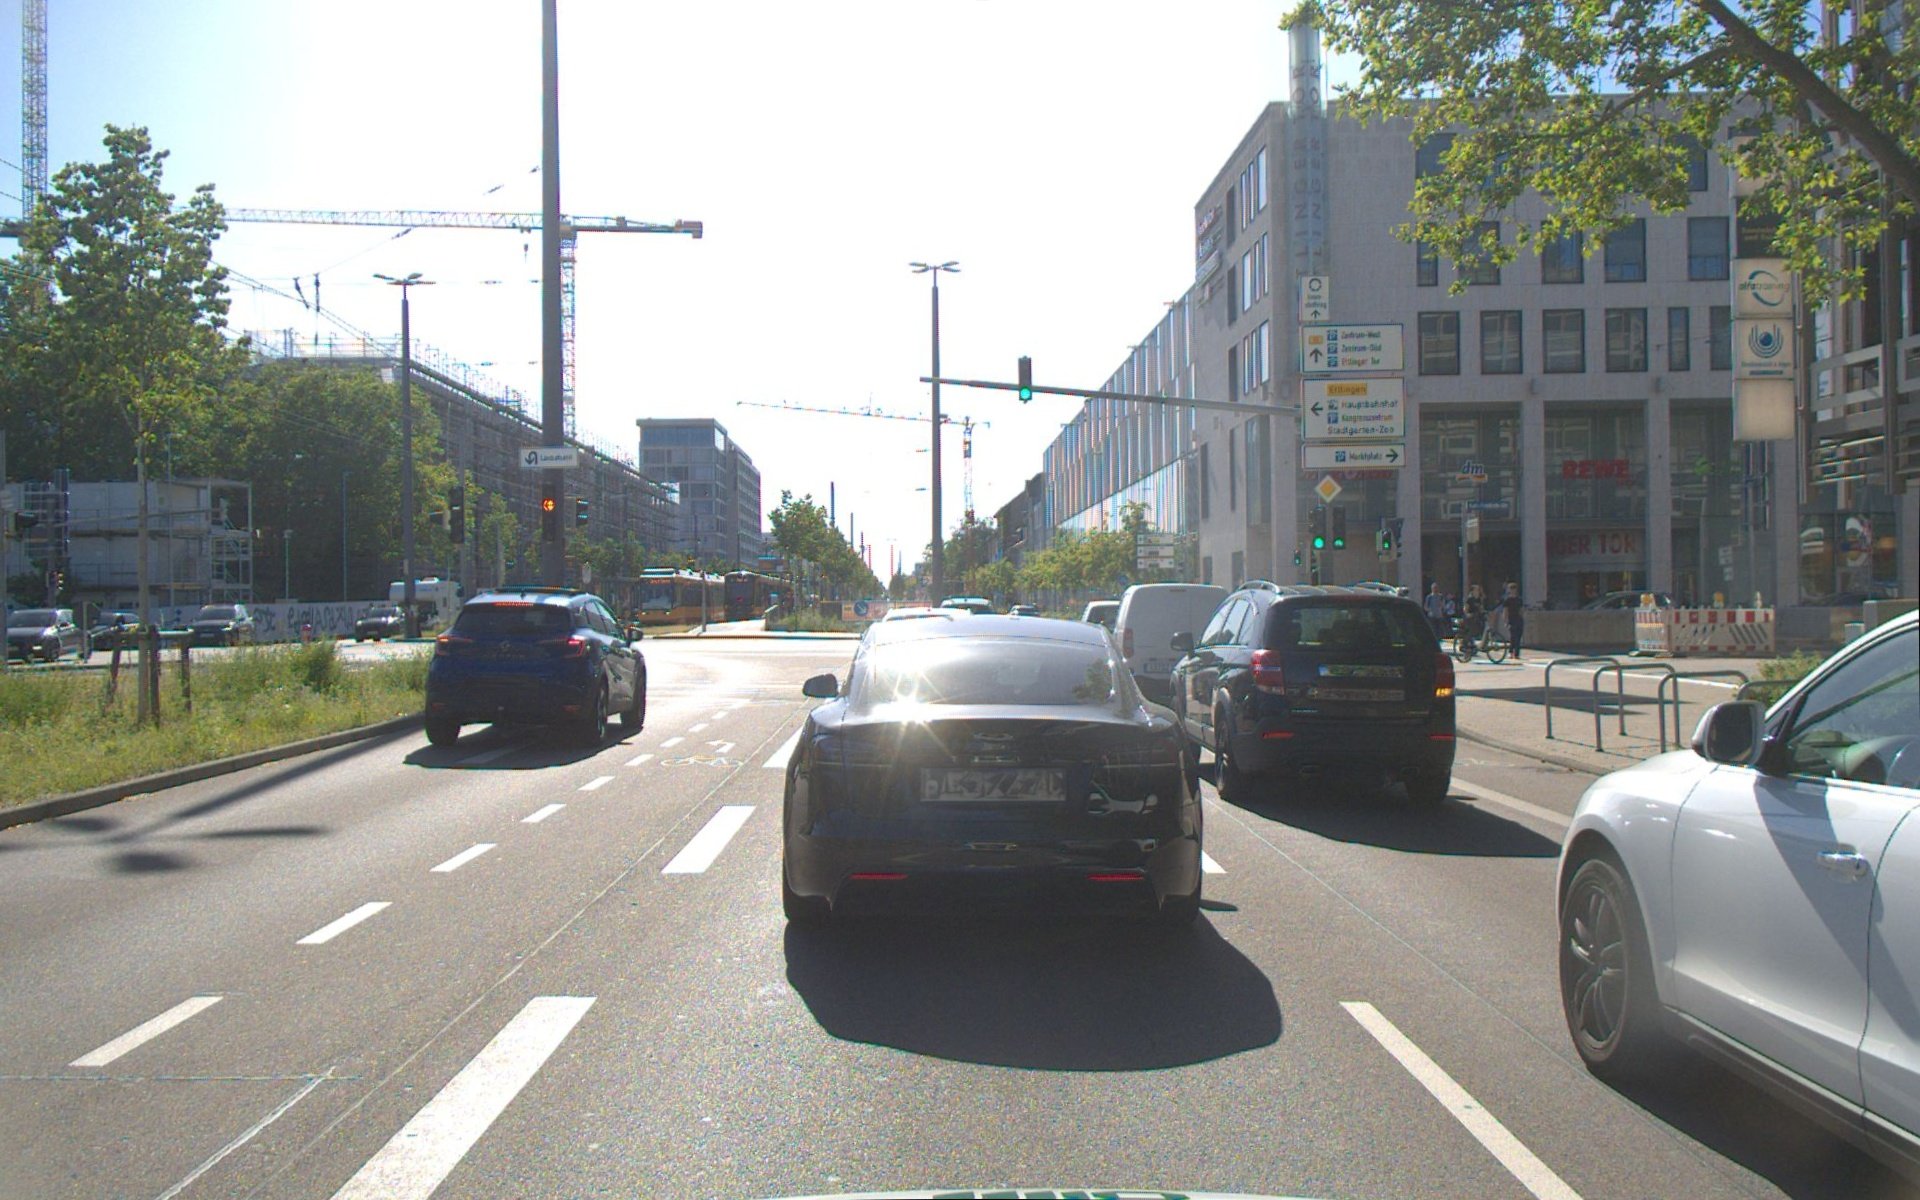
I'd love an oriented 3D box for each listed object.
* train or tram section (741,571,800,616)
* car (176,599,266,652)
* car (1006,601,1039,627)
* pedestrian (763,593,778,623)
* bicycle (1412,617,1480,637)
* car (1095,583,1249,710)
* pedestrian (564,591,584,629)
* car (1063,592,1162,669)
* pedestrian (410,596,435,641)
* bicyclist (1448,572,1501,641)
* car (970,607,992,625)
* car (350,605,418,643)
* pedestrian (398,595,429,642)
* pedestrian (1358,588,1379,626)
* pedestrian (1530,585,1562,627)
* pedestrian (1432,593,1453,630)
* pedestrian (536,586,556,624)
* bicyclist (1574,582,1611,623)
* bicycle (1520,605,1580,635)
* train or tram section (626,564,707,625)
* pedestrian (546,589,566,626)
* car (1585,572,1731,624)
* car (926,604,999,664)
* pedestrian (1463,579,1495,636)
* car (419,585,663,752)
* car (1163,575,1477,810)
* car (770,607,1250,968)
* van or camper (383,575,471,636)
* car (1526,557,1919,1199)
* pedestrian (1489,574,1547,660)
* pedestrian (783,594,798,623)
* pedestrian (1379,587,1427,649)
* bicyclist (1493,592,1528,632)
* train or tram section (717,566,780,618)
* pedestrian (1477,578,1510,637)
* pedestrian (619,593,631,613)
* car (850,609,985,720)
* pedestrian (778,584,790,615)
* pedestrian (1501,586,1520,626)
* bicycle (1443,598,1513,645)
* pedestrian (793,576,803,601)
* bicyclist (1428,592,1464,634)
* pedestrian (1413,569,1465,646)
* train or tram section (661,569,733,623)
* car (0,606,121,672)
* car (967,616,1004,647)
[{"bbox_3d":[-15.264,-0.450,134.707,2.812,3.337,22.135,1,0,-2],"label":"train or tram section"},{"bbox_3d":[-29.247,0.990,65.607,1.832,1.990,3.999,-1,0,-1],"label":"car"},{"bbox_3d":[3.950,0.883,105.087,1.895,1.569,3.999,0,0,-1],"label":"car"},{"bbox_3d":[-11.668,0.508,102.000,0.857,1.806,1.188,1,0,-5],"label":"pedestrian"},{"bbox_3d":[17.470,0.960,59.552,2.147,0.683,1.072,-1,0,2],"label":"bicycle"},{"bbox_3d":[3.114,0.639,25.057,1.748,1.764,4.162,0,0,-1],"label":"car"},{"bbox_3d":[-19.003,0.508,81.484,0.784,1.855,0.975,-1,0,-4],"label":"pedestrian"},{"bbox_3d":[3.268,0.621,36.032,1.748,1.573,4.038,0,0,0],"label":"car"},{"bbox_3d":[-22.368,0.765,68.834,0.784,1.855,0.975,-1,0,-4],"label":"pedestrian"},{"bbox_3d":[11.444,0.133,36.801,0.863,1.502,0.883,-1,0,-2],"label":"bicyclist"},{"bbox_3d":[1.947,1.473,154.017,1.895,1.569,3.999,0,0,-1],"label":"car"},{"bbox_3d":[-27.359,1.113,78.679,1.907,1.737,4.365,-1,0,-3],"label":"car"},{"bbox_3d":[-22.080,0.737,66.858,0.785,1.855,0.880,-1,0,31],"label":"pedestrian"},{"bbox_3d":[17.896,0.308,72.519,0.732,1.636,0.556,-1,1,-3],"label":"pedestrian"},{"bbox_3d":[23.927,0.234,67.568,0.957,1.713,0.860,-1,0,-4],"label":"pedestrian"},{"bbox_3d":[21.891,0.514,75.078,0.551,1.636,0.740,-1,1,-38],"label":"pedestrian"},{"bbox_3d":[-20.576,0.255,82.290,0.784,1.855,0.975,-1,0,-4],"label":"pedestrian"},{"bbox_3d":[22.846,0.078,59.749,0.913,1.458,1.041,-1,0,2],"label":"bicyclist"},{"bbox_3d":[22.360,0.744,62.767,1.044,1.113,3.497,-1,0,0],"label":"bicycle"},{"bbox_3d":[-17.360,-0.283,98.770,2.812,3.367,13.068,1,0,-2],"label":"train or tram section"},{"bbox_3d":[-20.572,0.368,84.252,0.784,1.855,0.975,-1,0,-4],"label":"pedestrian"},{"bbox_3d":[23.429,-0.041,55.641,4.099,1.641,1.861,-1,-2,1],"label":"car"},{"bbox_3d":[0.037,0.793,40.243,1.681,1.343,3.999,0,0,-1],"label":"car"},{"bbox_3d":[15.135,0.213,48.253,0.648,1.640,0.526,-3,0,-10],"label":"pedestrian"},{"bbox_3d":[-4.492,0.680,18.338,1.734,1.616,4.087,1,0,-2],"label":"car"},{"bbox_3d":[2.938,0.674,14.453,1.748,1.729,4.412,0,0,0],"label":"car"},{"bbox_3d":[0.194,0.775,8.961,1.958,1.459,4.412,0,0,0],"label":"car"},{"bbox_3d":[-27.943,0.277,87.075,2.553,2.988,7.338,-1,0,-3],"label":"van or camper"},{"bbox_3d":[3.008,0.721,3.939,1.782,1.641,4.412,0,0,0],"label":"car"},{"bbox_3d":[13.468,0.404,39.933,0.929,2.049,1.077,0,0,-9],"label":"pedestrian"},{"bbox_3d":[-9.596,0.478,93.626,0.726,1.657,0.861,0,0,-1],"label":"pedestrian"},{"bbox_3d":[13.623,0.542,50.928,0.947,1.833,1.522,-3,0,-2],"label":"pedestrian"},{"bbox_3d":[19.895,0.419,59.778,0.913,1.420,1.077,-1,0,2],"label":"bicyclist"},{"bbox_3d":[-14.704,-0.497,116.061,2.812,3.337,15.179,1,0,-2],"label":"train or tram section"},{"bbox_3d":[15.366,0.219,47.642,0.648,1.640,0.526,-3,0,-10],"label":"pedestrian"},{"bbox_3d":[-20.428,0.186,100.892,0.658,1.248,0.505,1,-1,-4],"label":"pedestrian"},{"bbox_3d":[-0.562,0.816,22.766,1.681,1.343,3.999,0,0,-1],"label":"car"},{"bbox_3d":[-10.539,-0.027,99.141,0.689,1.806,0.958,1,0,-5],"label":"pedestrian"},{"bbox_3d":[25.113,0.261,75.461,0.551,1.793,0.641,-1,1,-38],"label":"pedestrian"},{"bbox_3d":[11.446,0.454,36.613,0.863,1.002,2.050,-1,0,-1],"label":"bicycle"},{"bbox_3d":[-11.806,-0.838,120.410,0.658,1.842,1.074,-1,-1,-2],"label":"pedestrian"},{"bbox_3d":[17.502,0.470,59.565,1.000,1.502,1.072,-1,0,2],"label":"bicyclist"},{"bbox_3d":[12.866,0.201,44.428,0.930,2.049,1.076,0,0,-12],"label":"pedestrian"},{"bbox_3d":[-17.811,-0.172,113.274,2.790,3.380,15.959,1,-1,-2],"label":"train or tram section"},{"bbox_3d":[-25.502,1.064,46.375,1.788,1.719,4.092,-1,0,1],"label":"car"},{"bbox_3d":[1.234,1.521,80.788,1.681,1.457,3.999,0,0,-1],"label":"car"}]
